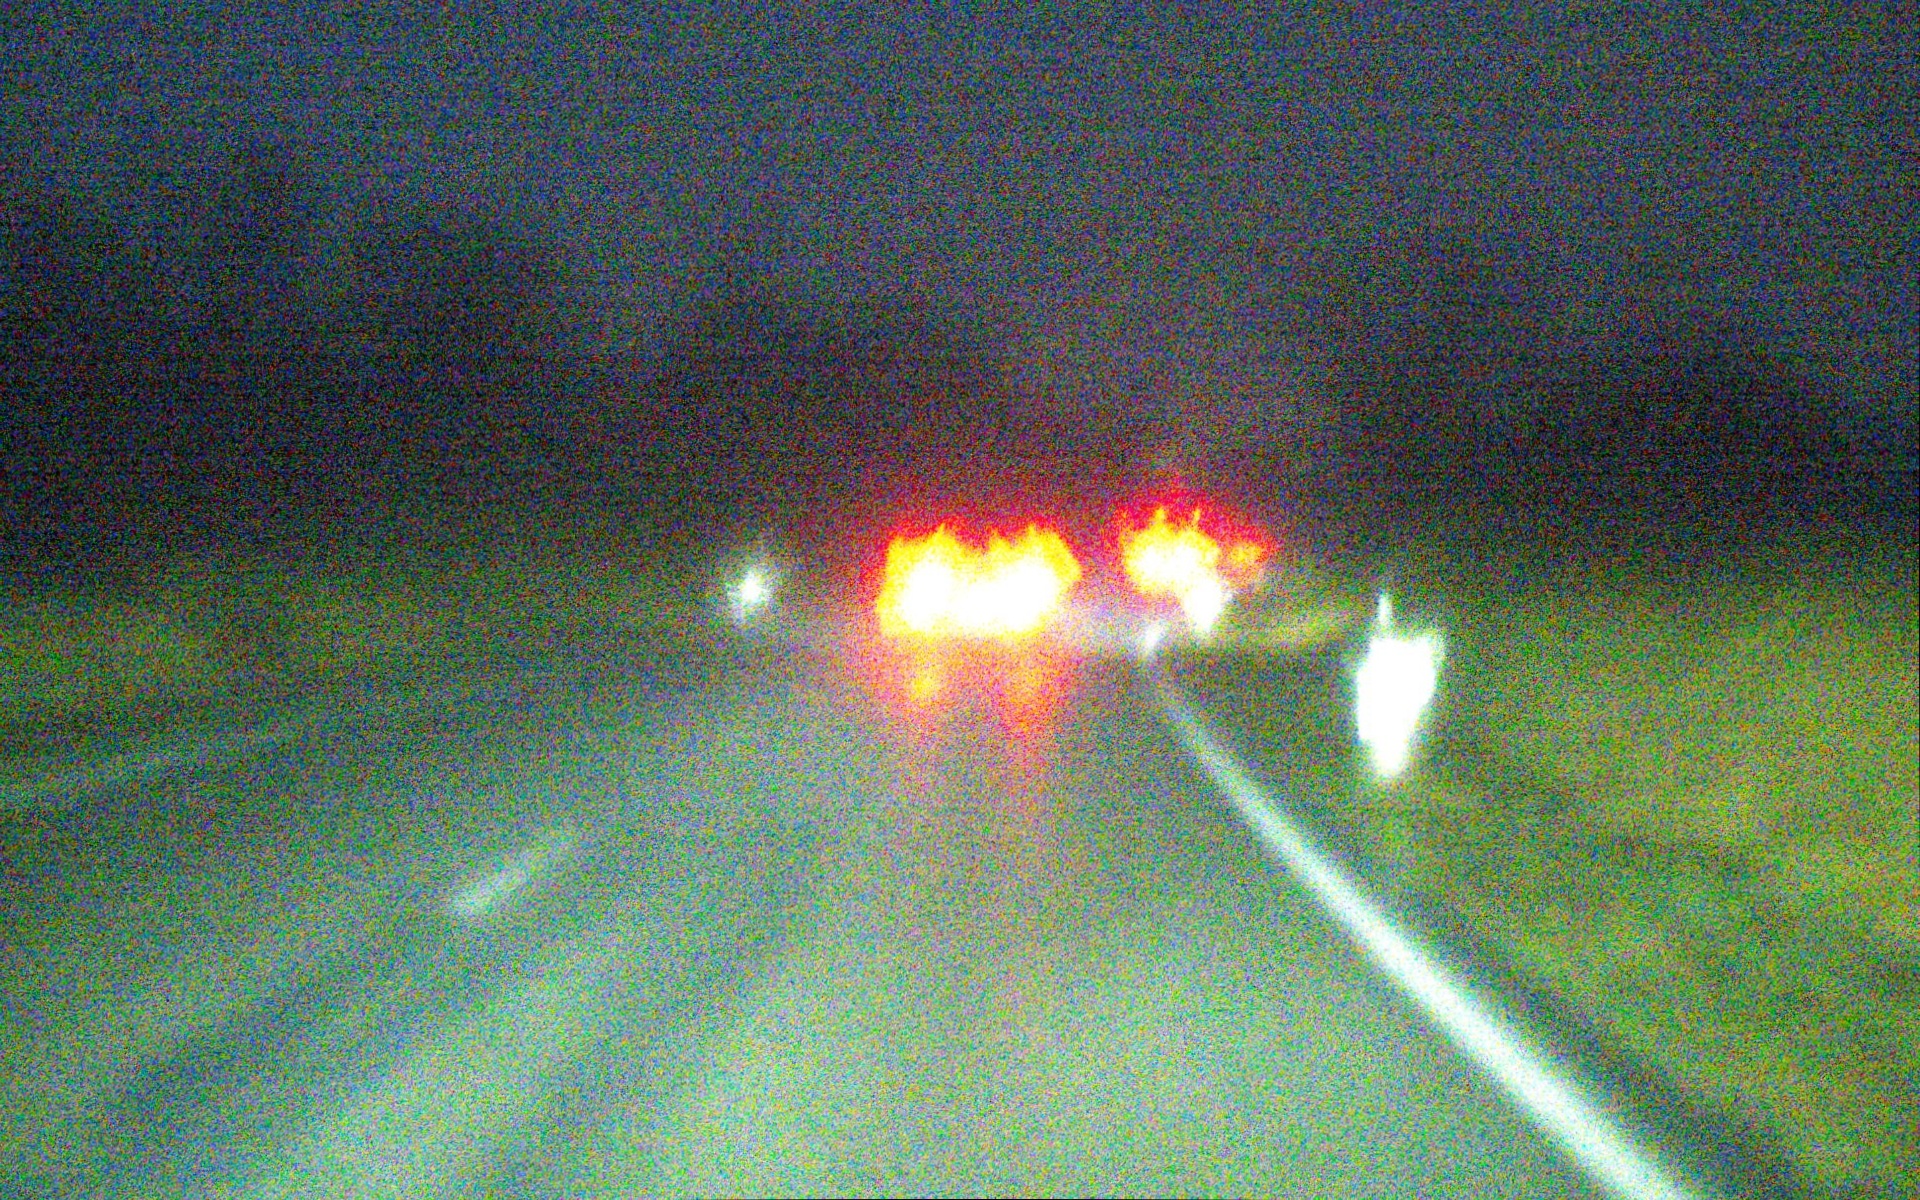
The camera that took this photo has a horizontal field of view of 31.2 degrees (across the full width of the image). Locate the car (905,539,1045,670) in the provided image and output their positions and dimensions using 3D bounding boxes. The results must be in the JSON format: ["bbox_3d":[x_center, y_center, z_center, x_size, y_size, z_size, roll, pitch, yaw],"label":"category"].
[{"bbox_3d":[0.203,0.029,47.733,1.842,1.734,4.000,0,1,0],"label":"car"}]
